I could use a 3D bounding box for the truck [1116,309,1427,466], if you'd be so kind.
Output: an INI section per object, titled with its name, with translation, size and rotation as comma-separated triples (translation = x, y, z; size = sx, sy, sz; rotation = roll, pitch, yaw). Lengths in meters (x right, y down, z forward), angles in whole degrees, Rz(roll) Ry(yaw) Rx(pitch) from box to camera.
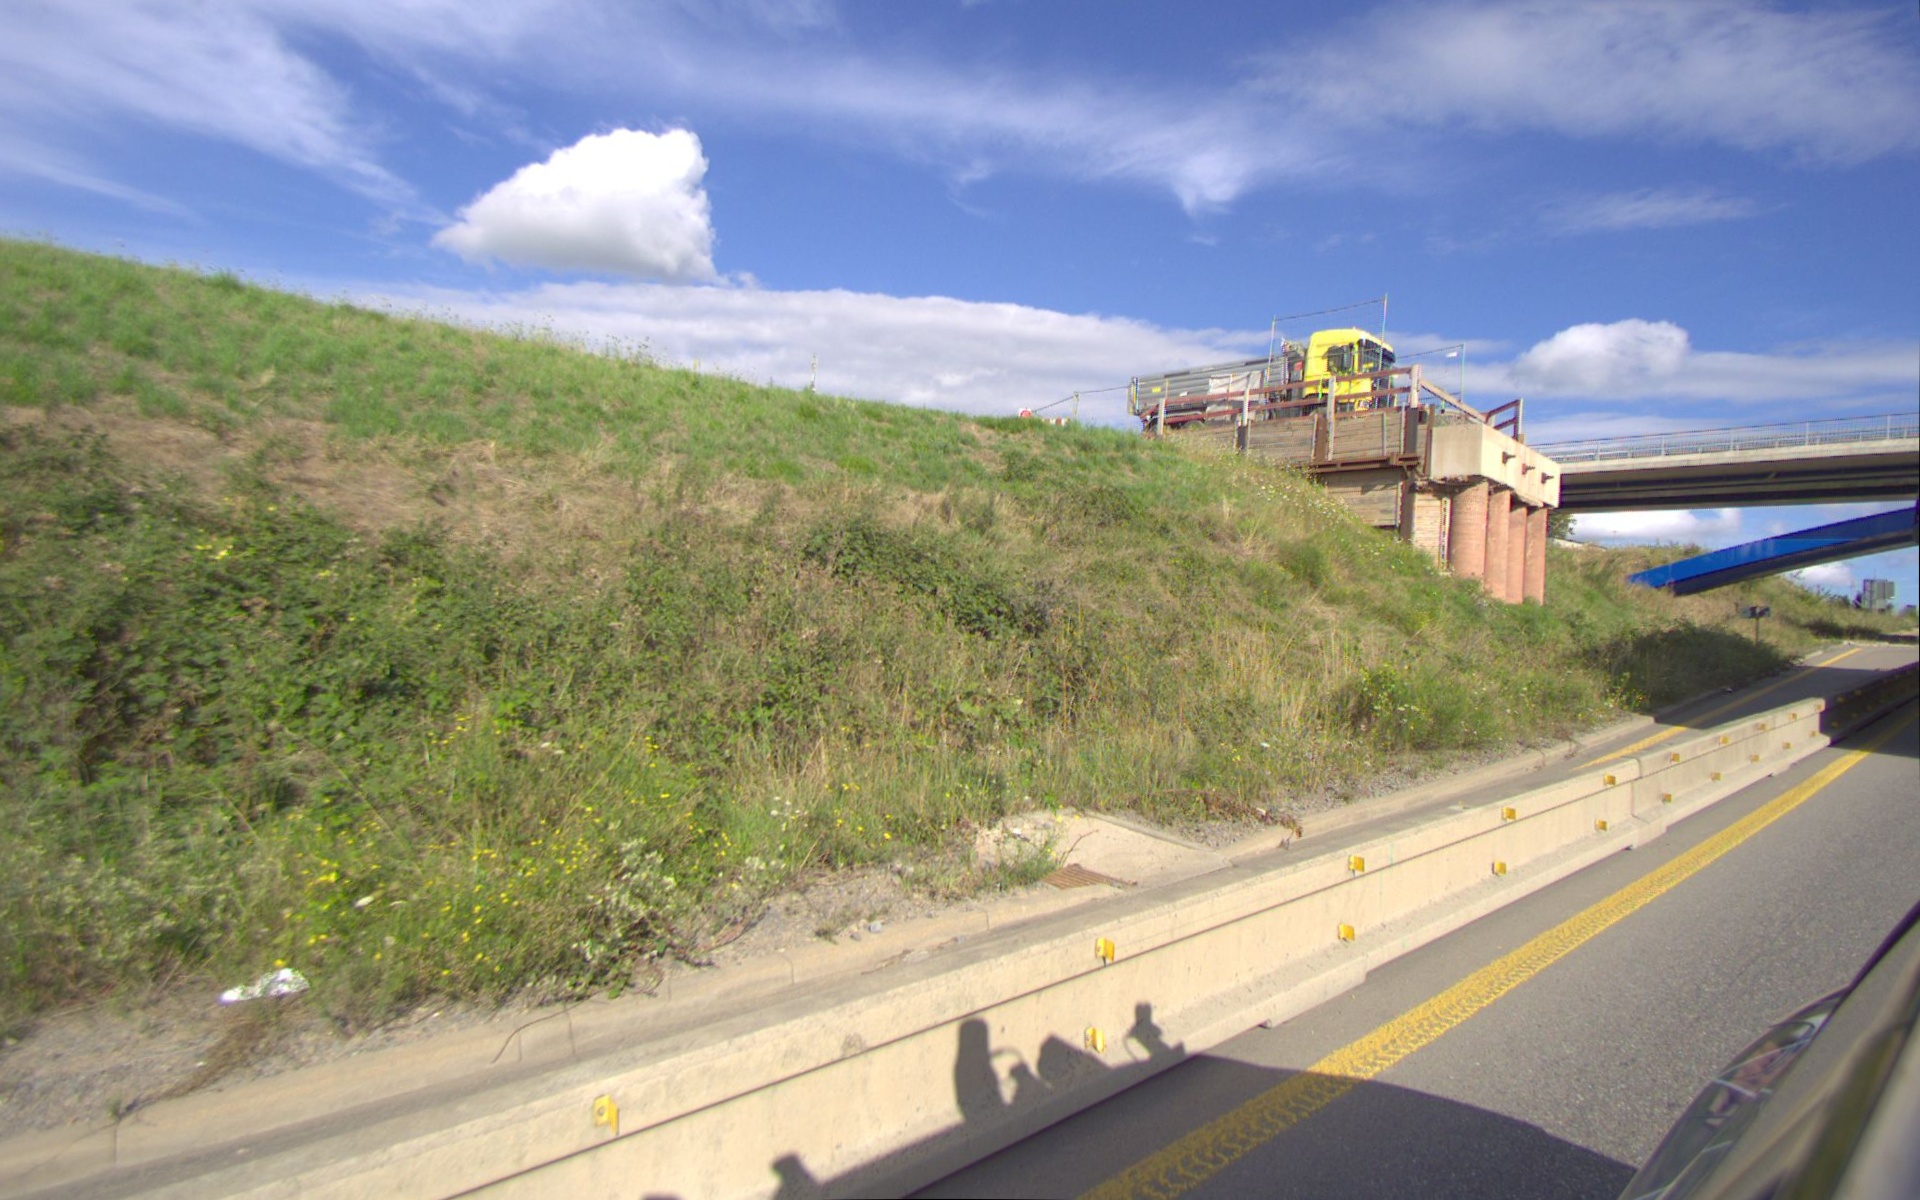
[truck]
translation = 9.553, -6.439, 32.255
size = 2.910, 3.268, 9.274
rotation = 1, 0, -43
